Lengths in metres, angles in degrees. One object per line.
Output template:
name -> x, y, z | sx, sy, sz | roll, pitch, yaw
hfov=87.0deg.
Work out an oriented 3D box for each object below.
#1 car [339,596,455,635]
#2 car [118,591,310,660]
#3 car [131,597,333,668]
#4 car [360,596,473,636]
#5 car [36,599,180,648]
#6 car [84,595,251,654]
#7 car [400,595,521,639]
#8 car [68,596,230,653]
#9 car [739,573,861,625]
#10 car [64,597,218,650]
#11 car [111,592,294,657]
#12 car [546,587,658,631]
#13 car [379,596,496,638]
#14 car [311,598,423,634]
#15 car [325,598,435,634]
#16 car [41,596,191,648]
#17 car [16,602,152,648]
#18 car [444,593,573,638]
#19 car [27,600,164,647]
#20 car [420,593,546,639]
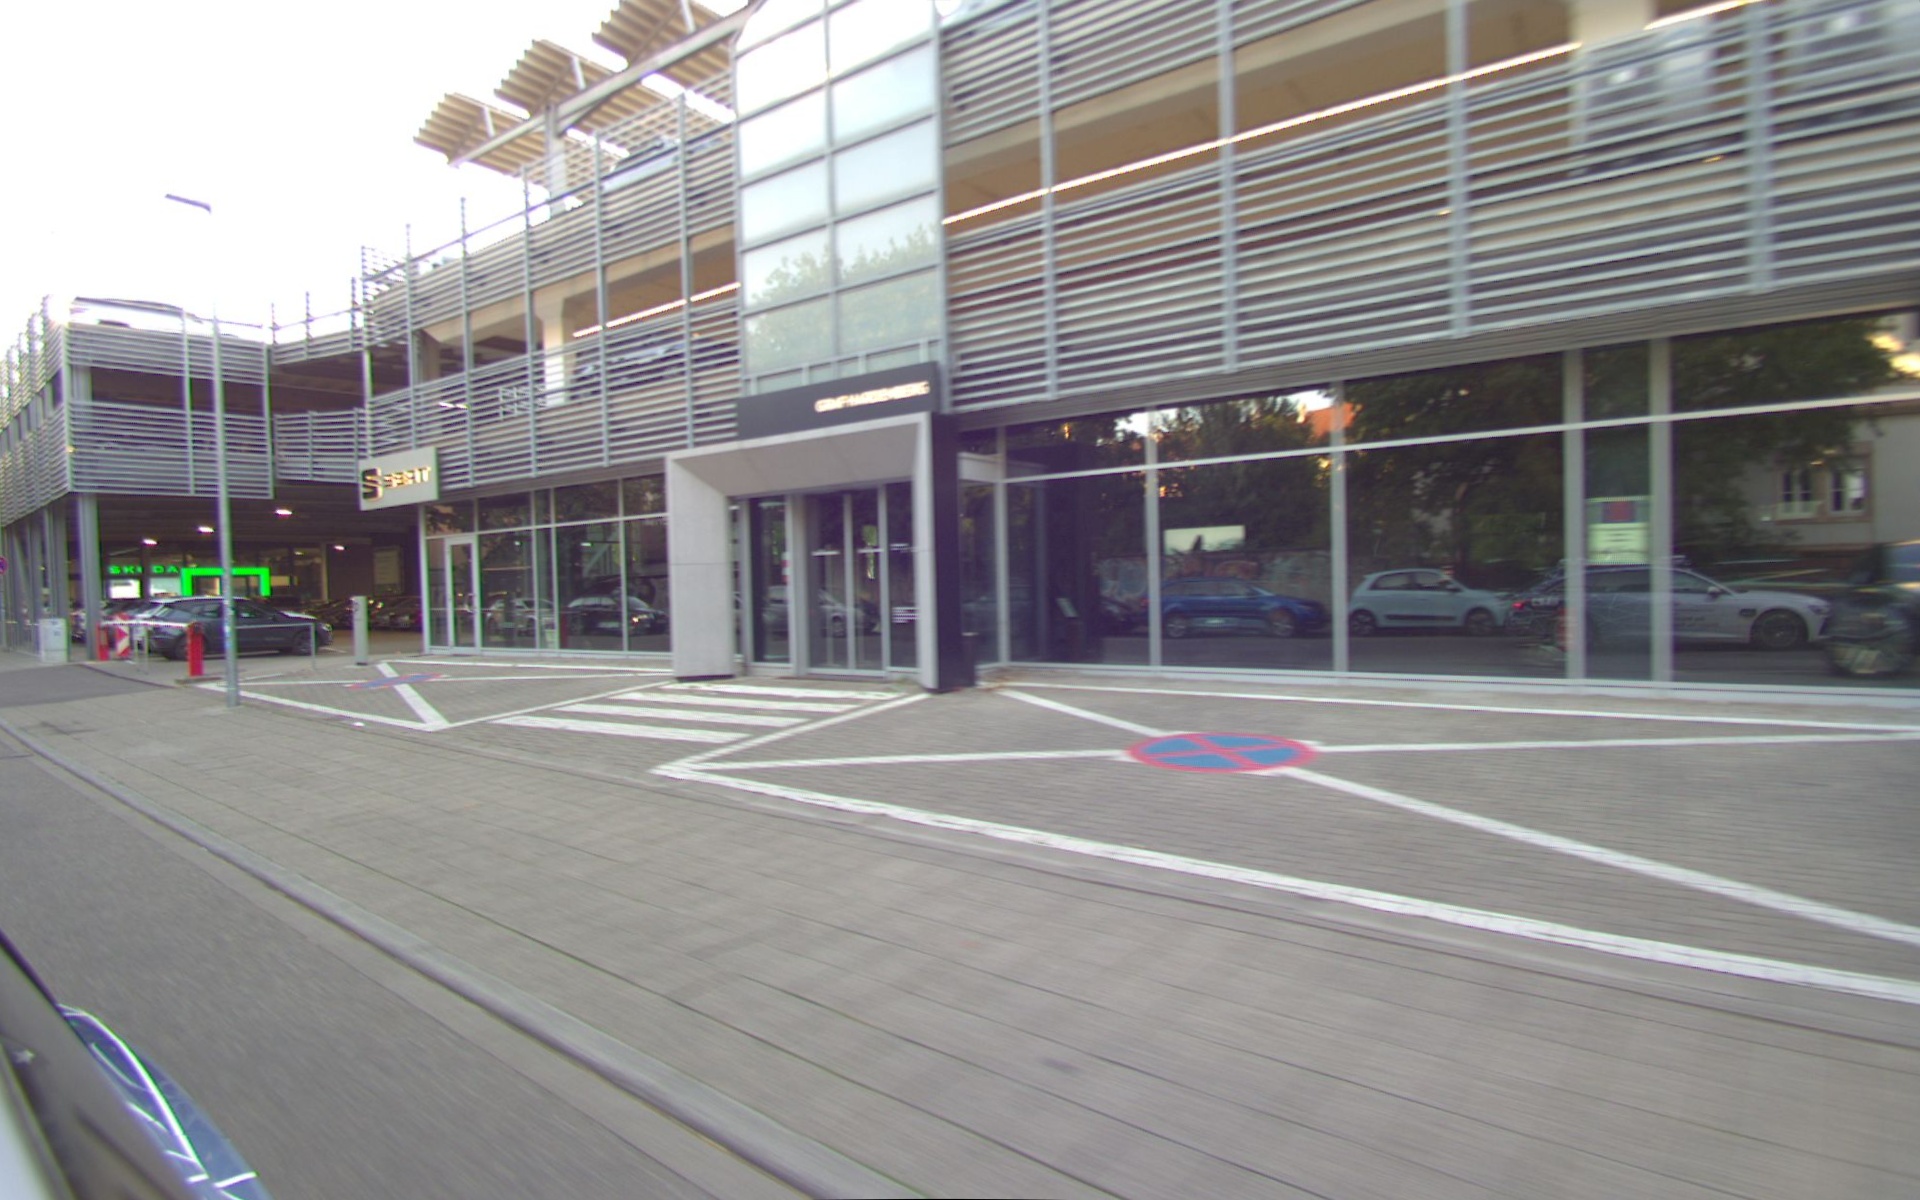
car -> -25.320, 0.671, 45.584 | 1.860, 1.532, 4.161 | -3, 0, 42
car -> -20.890, 0.671, 28.443 | 1.860, 1.696, 4.036 | -3, 0, 42
car -> -19.029, 0.791, 26.570 | 1.858, 1.597, 3.948 | 1, 2, 39
car -> -23.697, 0.687, 44.231 | 1.860, 1.570, 3.945 | -3, 0, 42
car -> -33.082, 0.890, 39.383 | 1.860, 1.696, 4.040 | -3, 0, 42
car -> -25.942, 0.769, 33.227 | 1.860, 1.696, 4.021 | -3, 0, 42
car -> -20.343, 0.680, 41.311 | 1.860, 1.608, 3.992 | -3, 0, 42
car -> -27.745, 0.816, 34.694 | 1.860, 1.696, 4.059 | -3, 0, 42
car -> -5.304, -0.064, 33.970 | 1.784, 1.484, 3.793 | -5, -1, 37
car -> -29.481, 0.833, 36.497 | 1.860, 1.696, 4.059 | -3, 0, 42
car -> -22.548, 0.702, 30.228 | 1.860, 1.696, 4.044 | -3, 0, 42
car -> -15.342, 0.348, 43.457 | 1.860, 1.696, 4.104 | -3, 0, 42
car -> -22.071, 0.714, 42.851 | 1.860, 1.570, 3.945 | -3, 0, 42
car -> -28.553, 0.767, 48.839 | 1.860, 1.499, 4.291 | -3, 0, 42
car -> -26.824, 0.707, 46.895 | 1.860, 1.466, 4.031 | -3, 0, 42
car -> -31.478, 0.802, 37.830 | 1.860, 1.696, 4.059 | -3, 0, 42
car -> -36.685, 1.037, 42.440 | 1.860, 1.696, 4.105 | -3, 0, 42
car -> -17.006, 0.557, 38.225 | 1.860, 1.506, 4.008 | -3, 0, 42
car -> -35.005, 0.931, 41.027 | 1.860, 1.696, 3.983 | -3, 0, 42
car -> -18.658, 0.617, 39.688 | 1.860, 1.591, 4.024 | -3, 0, 42
